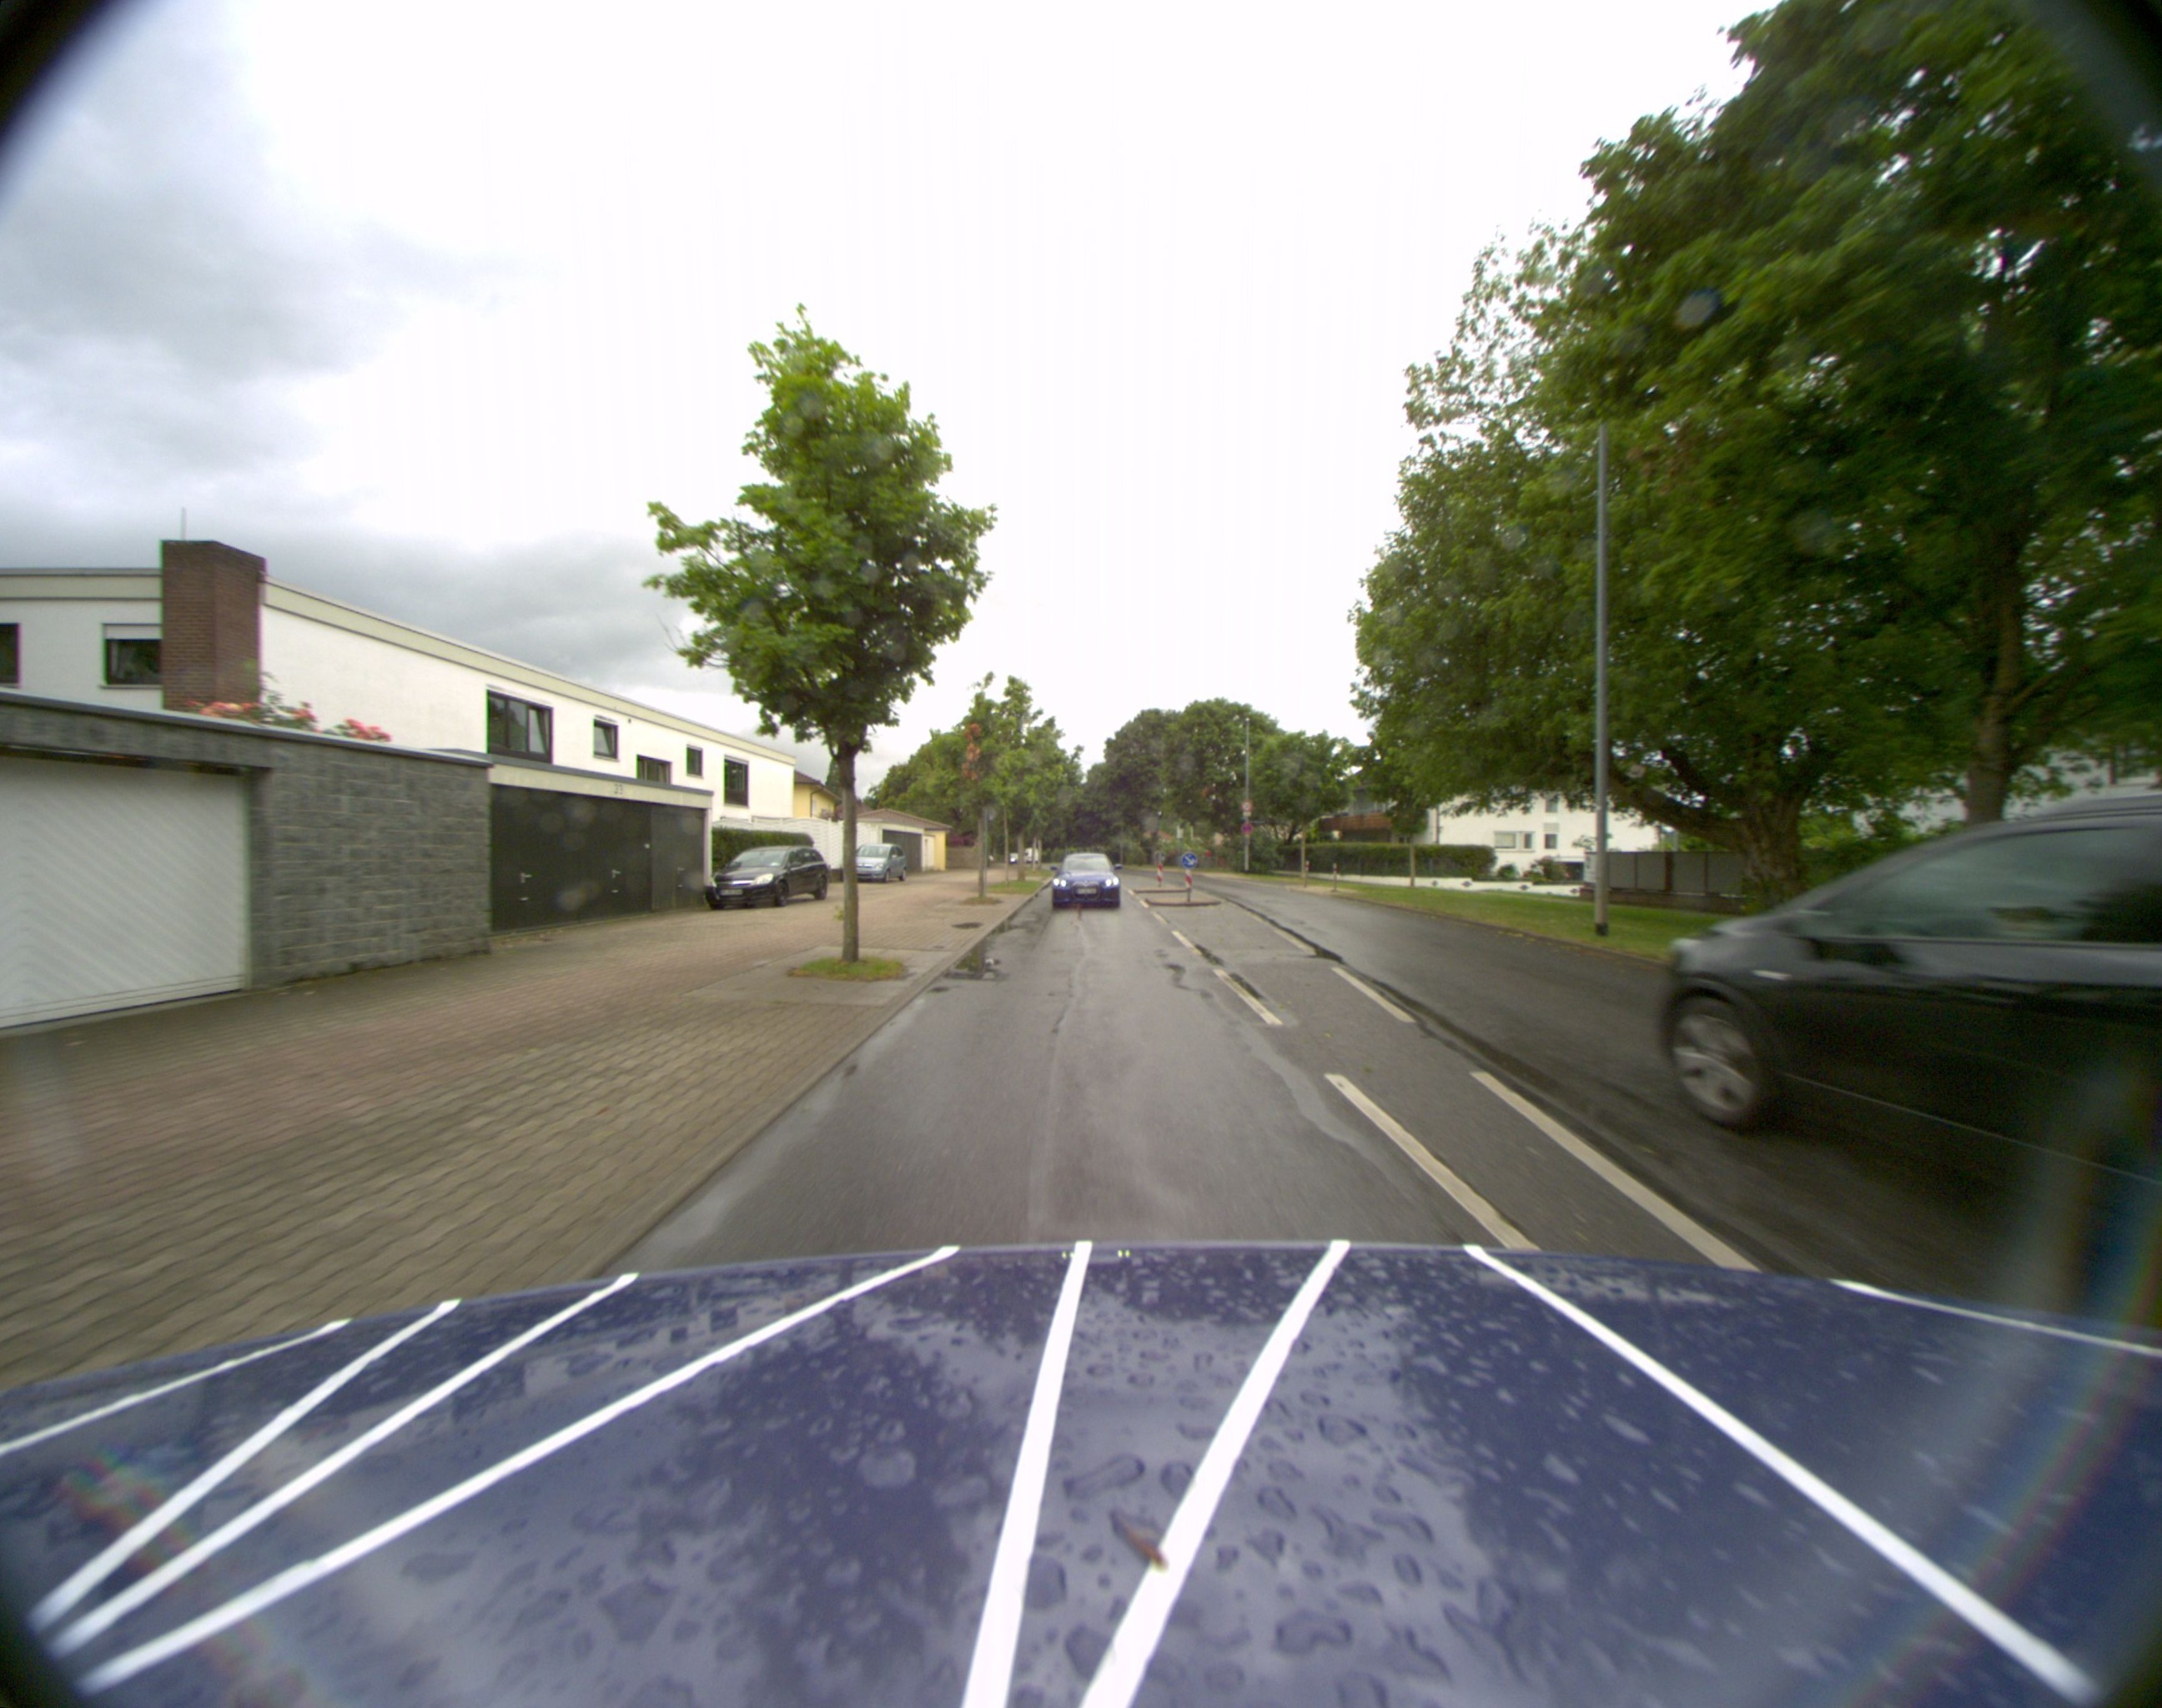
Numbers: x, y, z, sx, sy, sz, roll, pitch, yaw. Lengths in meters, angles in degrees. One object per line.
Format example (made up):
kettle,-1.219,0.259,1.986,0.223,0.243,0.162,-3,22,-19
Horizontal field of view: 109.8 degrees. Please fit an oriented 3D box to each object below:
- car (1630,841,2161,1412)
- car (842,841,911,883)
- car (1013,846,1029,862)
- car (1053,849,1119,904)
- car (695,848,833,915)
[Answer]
car,3.952,0.774,2.415,1.713,1.588,4.173,-1,1,6
car,-8.451,0.268,31.788,1.700,1.553,3.999,-2,2,1
car,-8.168,-0.018,103.480,2.000,2.002,3.996,-2,2,-6
car,0.181,0.626,23.068,1.815,1.460,3.974,-1,1,1
car,-7.751,0.606,19.012,1.666,1.414,3.999,-2,1,1
